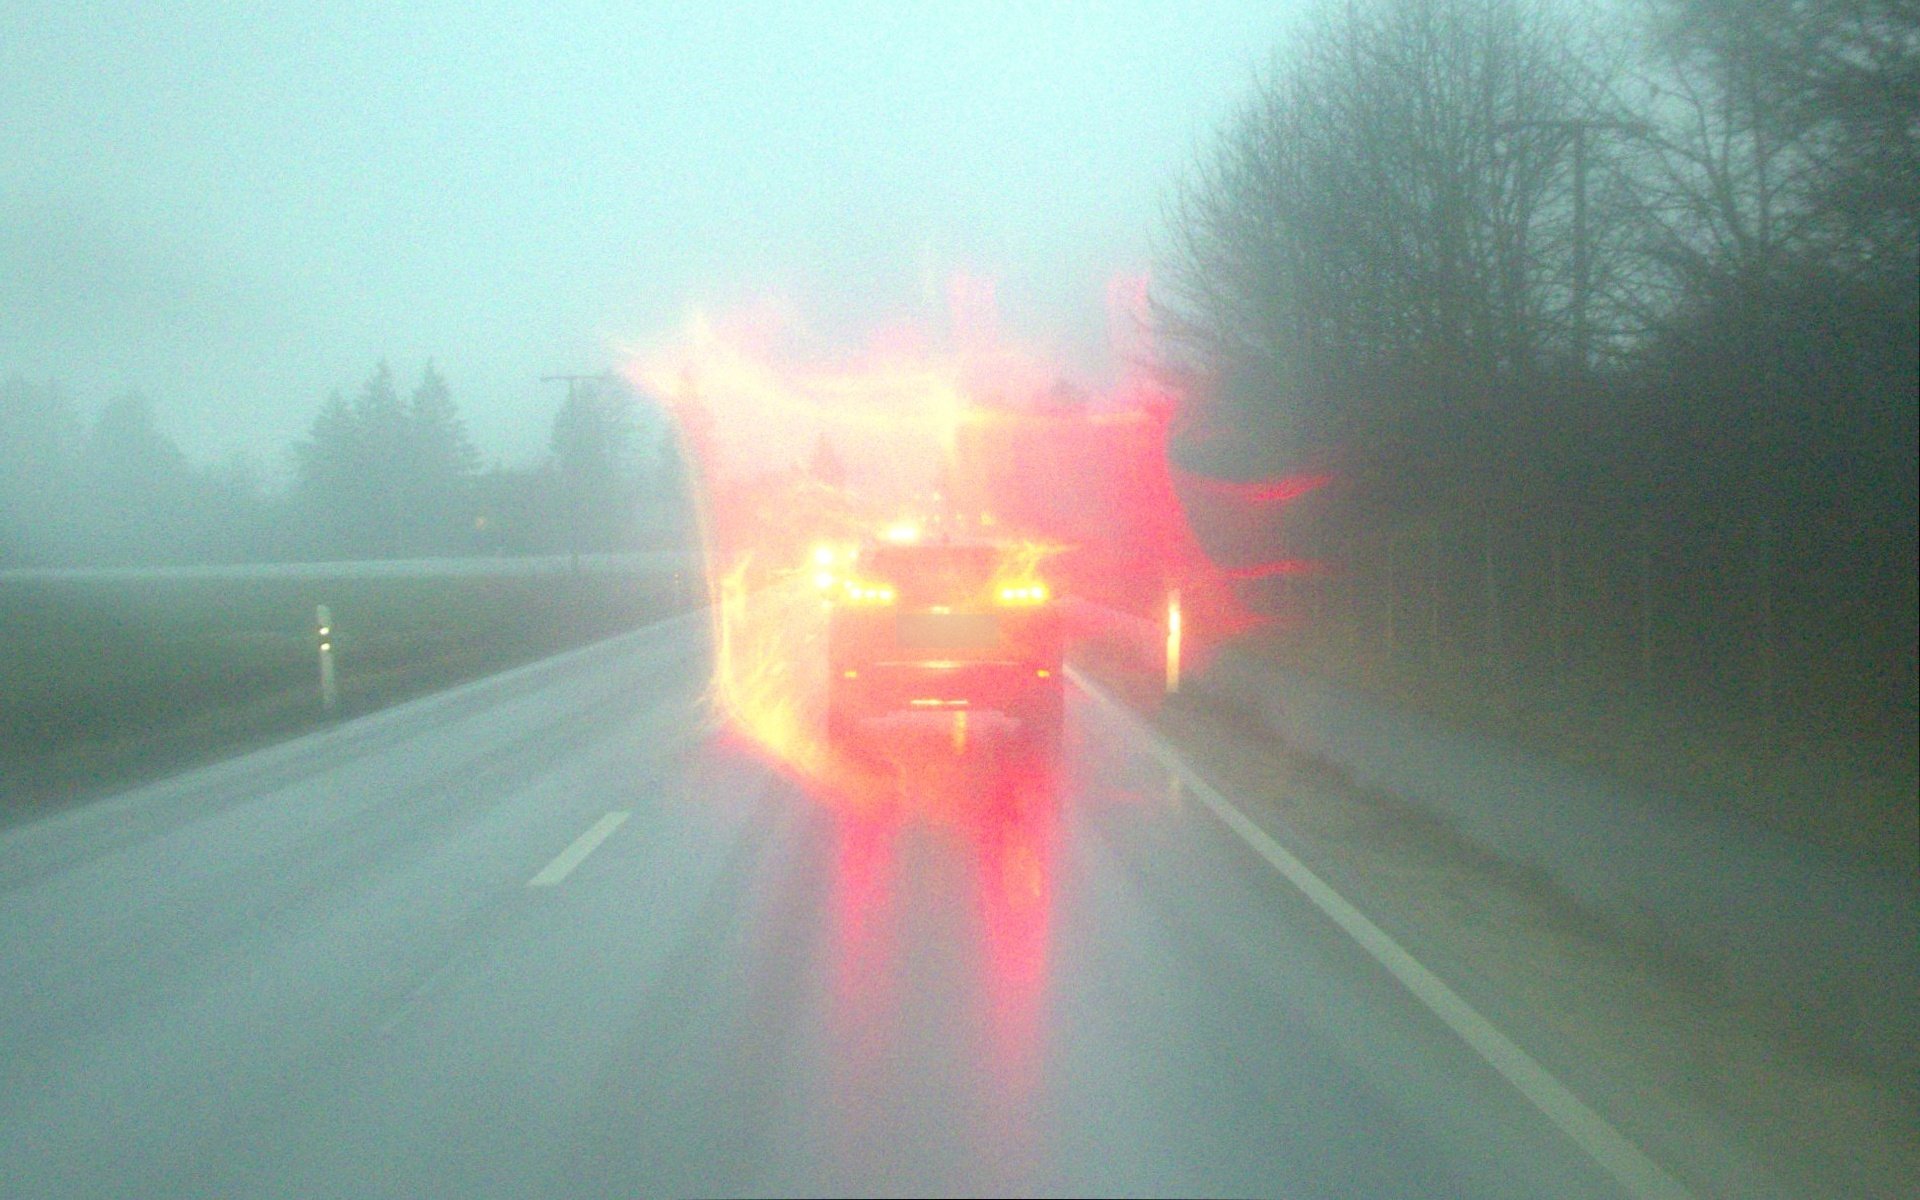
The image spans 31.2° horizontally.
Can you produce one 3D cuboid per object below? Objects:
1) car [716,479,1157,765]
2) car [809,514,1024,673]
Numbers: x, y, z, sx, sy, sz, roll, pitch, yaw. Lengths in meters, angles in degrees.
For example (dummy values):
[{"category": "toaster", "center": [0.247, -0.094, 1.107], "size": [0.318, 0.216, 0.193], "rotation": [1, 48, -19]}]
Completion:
[{"category": "car", "center": [-0.176, 0.079, 28.341], "size": [3.164, 2.028, 6.852], "rotation": [-1, 1, 0]}, {"category": "car", "center": [-0.566, -0.161, 47.812], "size": [2.756, 2.028, 6.591], "rotation": [-1, 1, 0]}]
